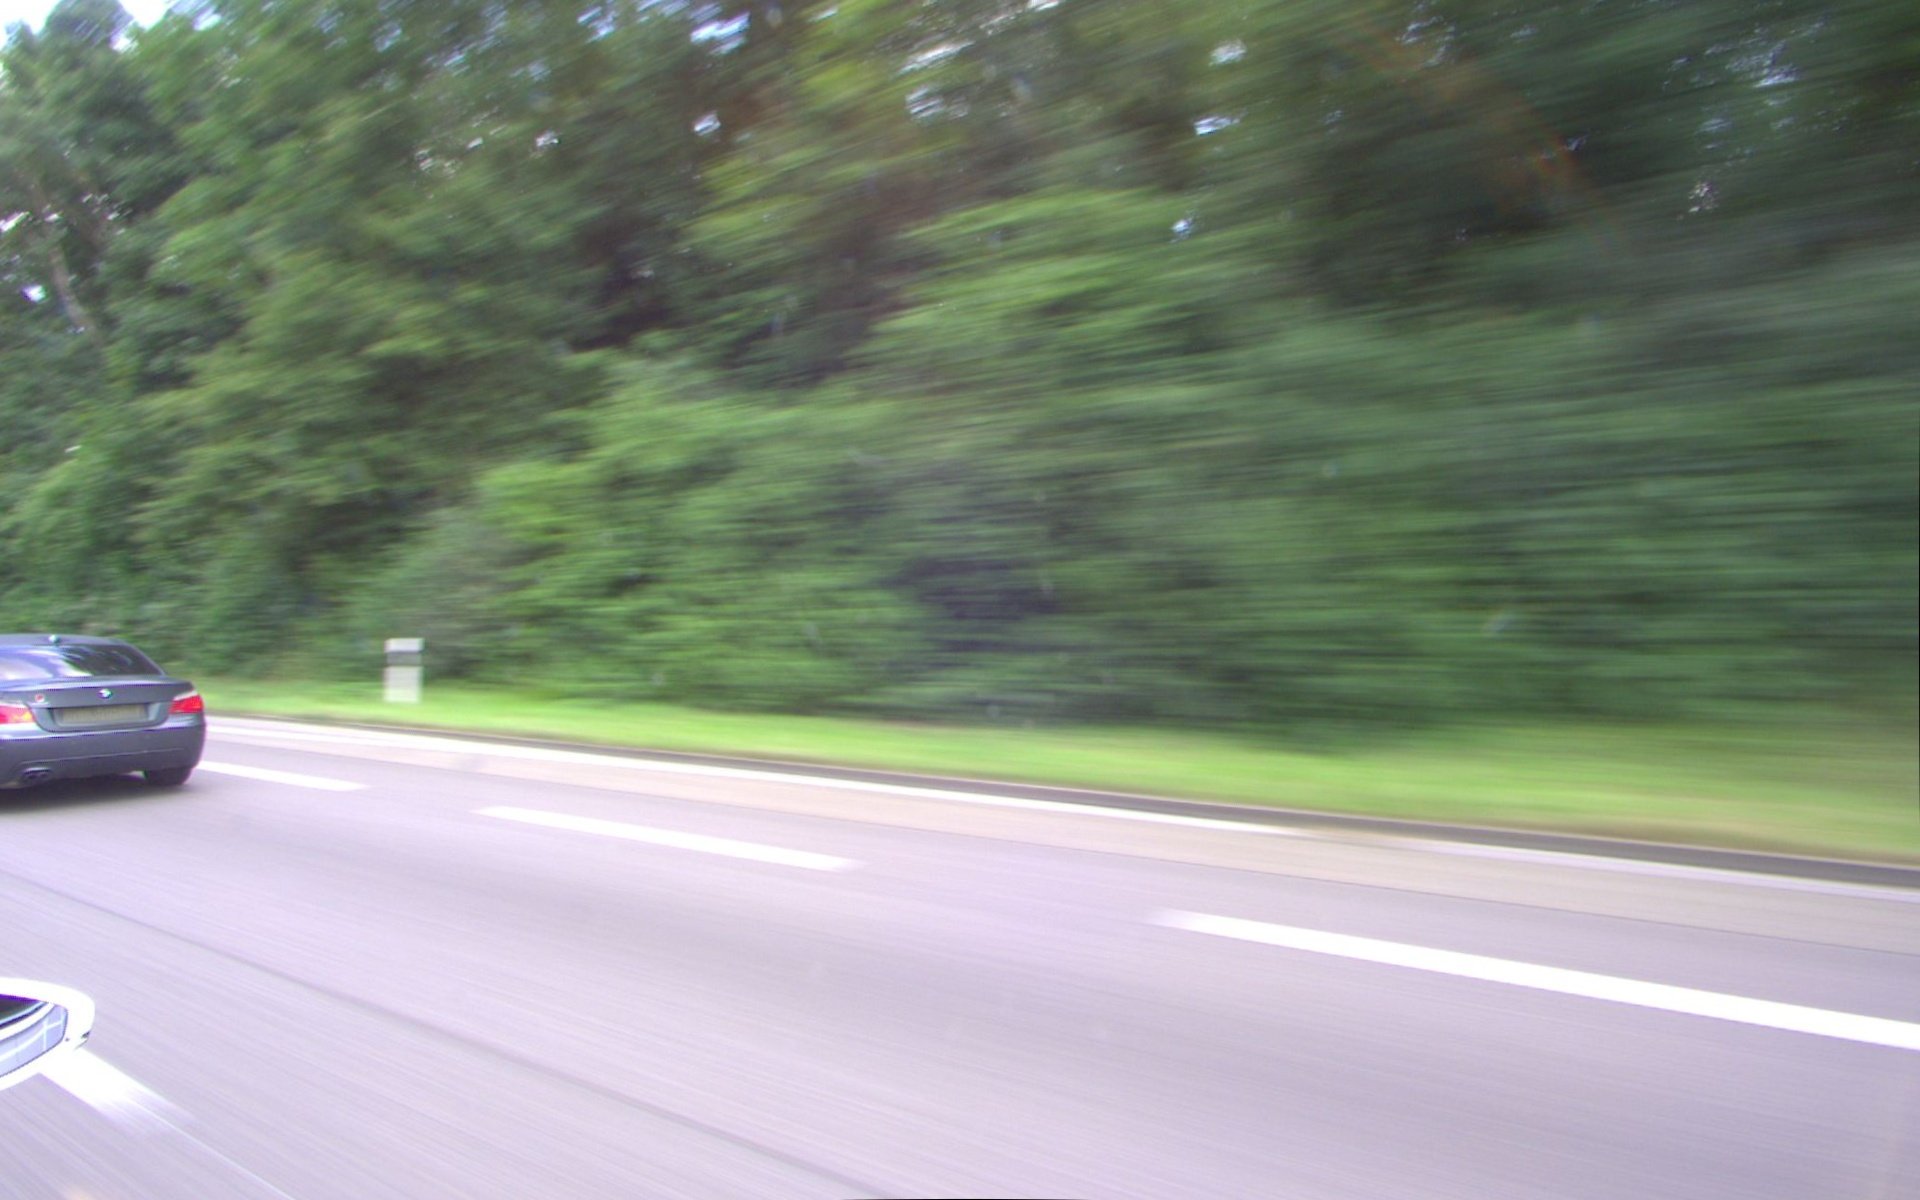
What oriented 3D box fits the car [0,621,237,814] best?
[{"bbox_3d":[-9.106,0.972,9.672,4.810,1.494,1.771,-1,-2,32],"label":"car"}]
